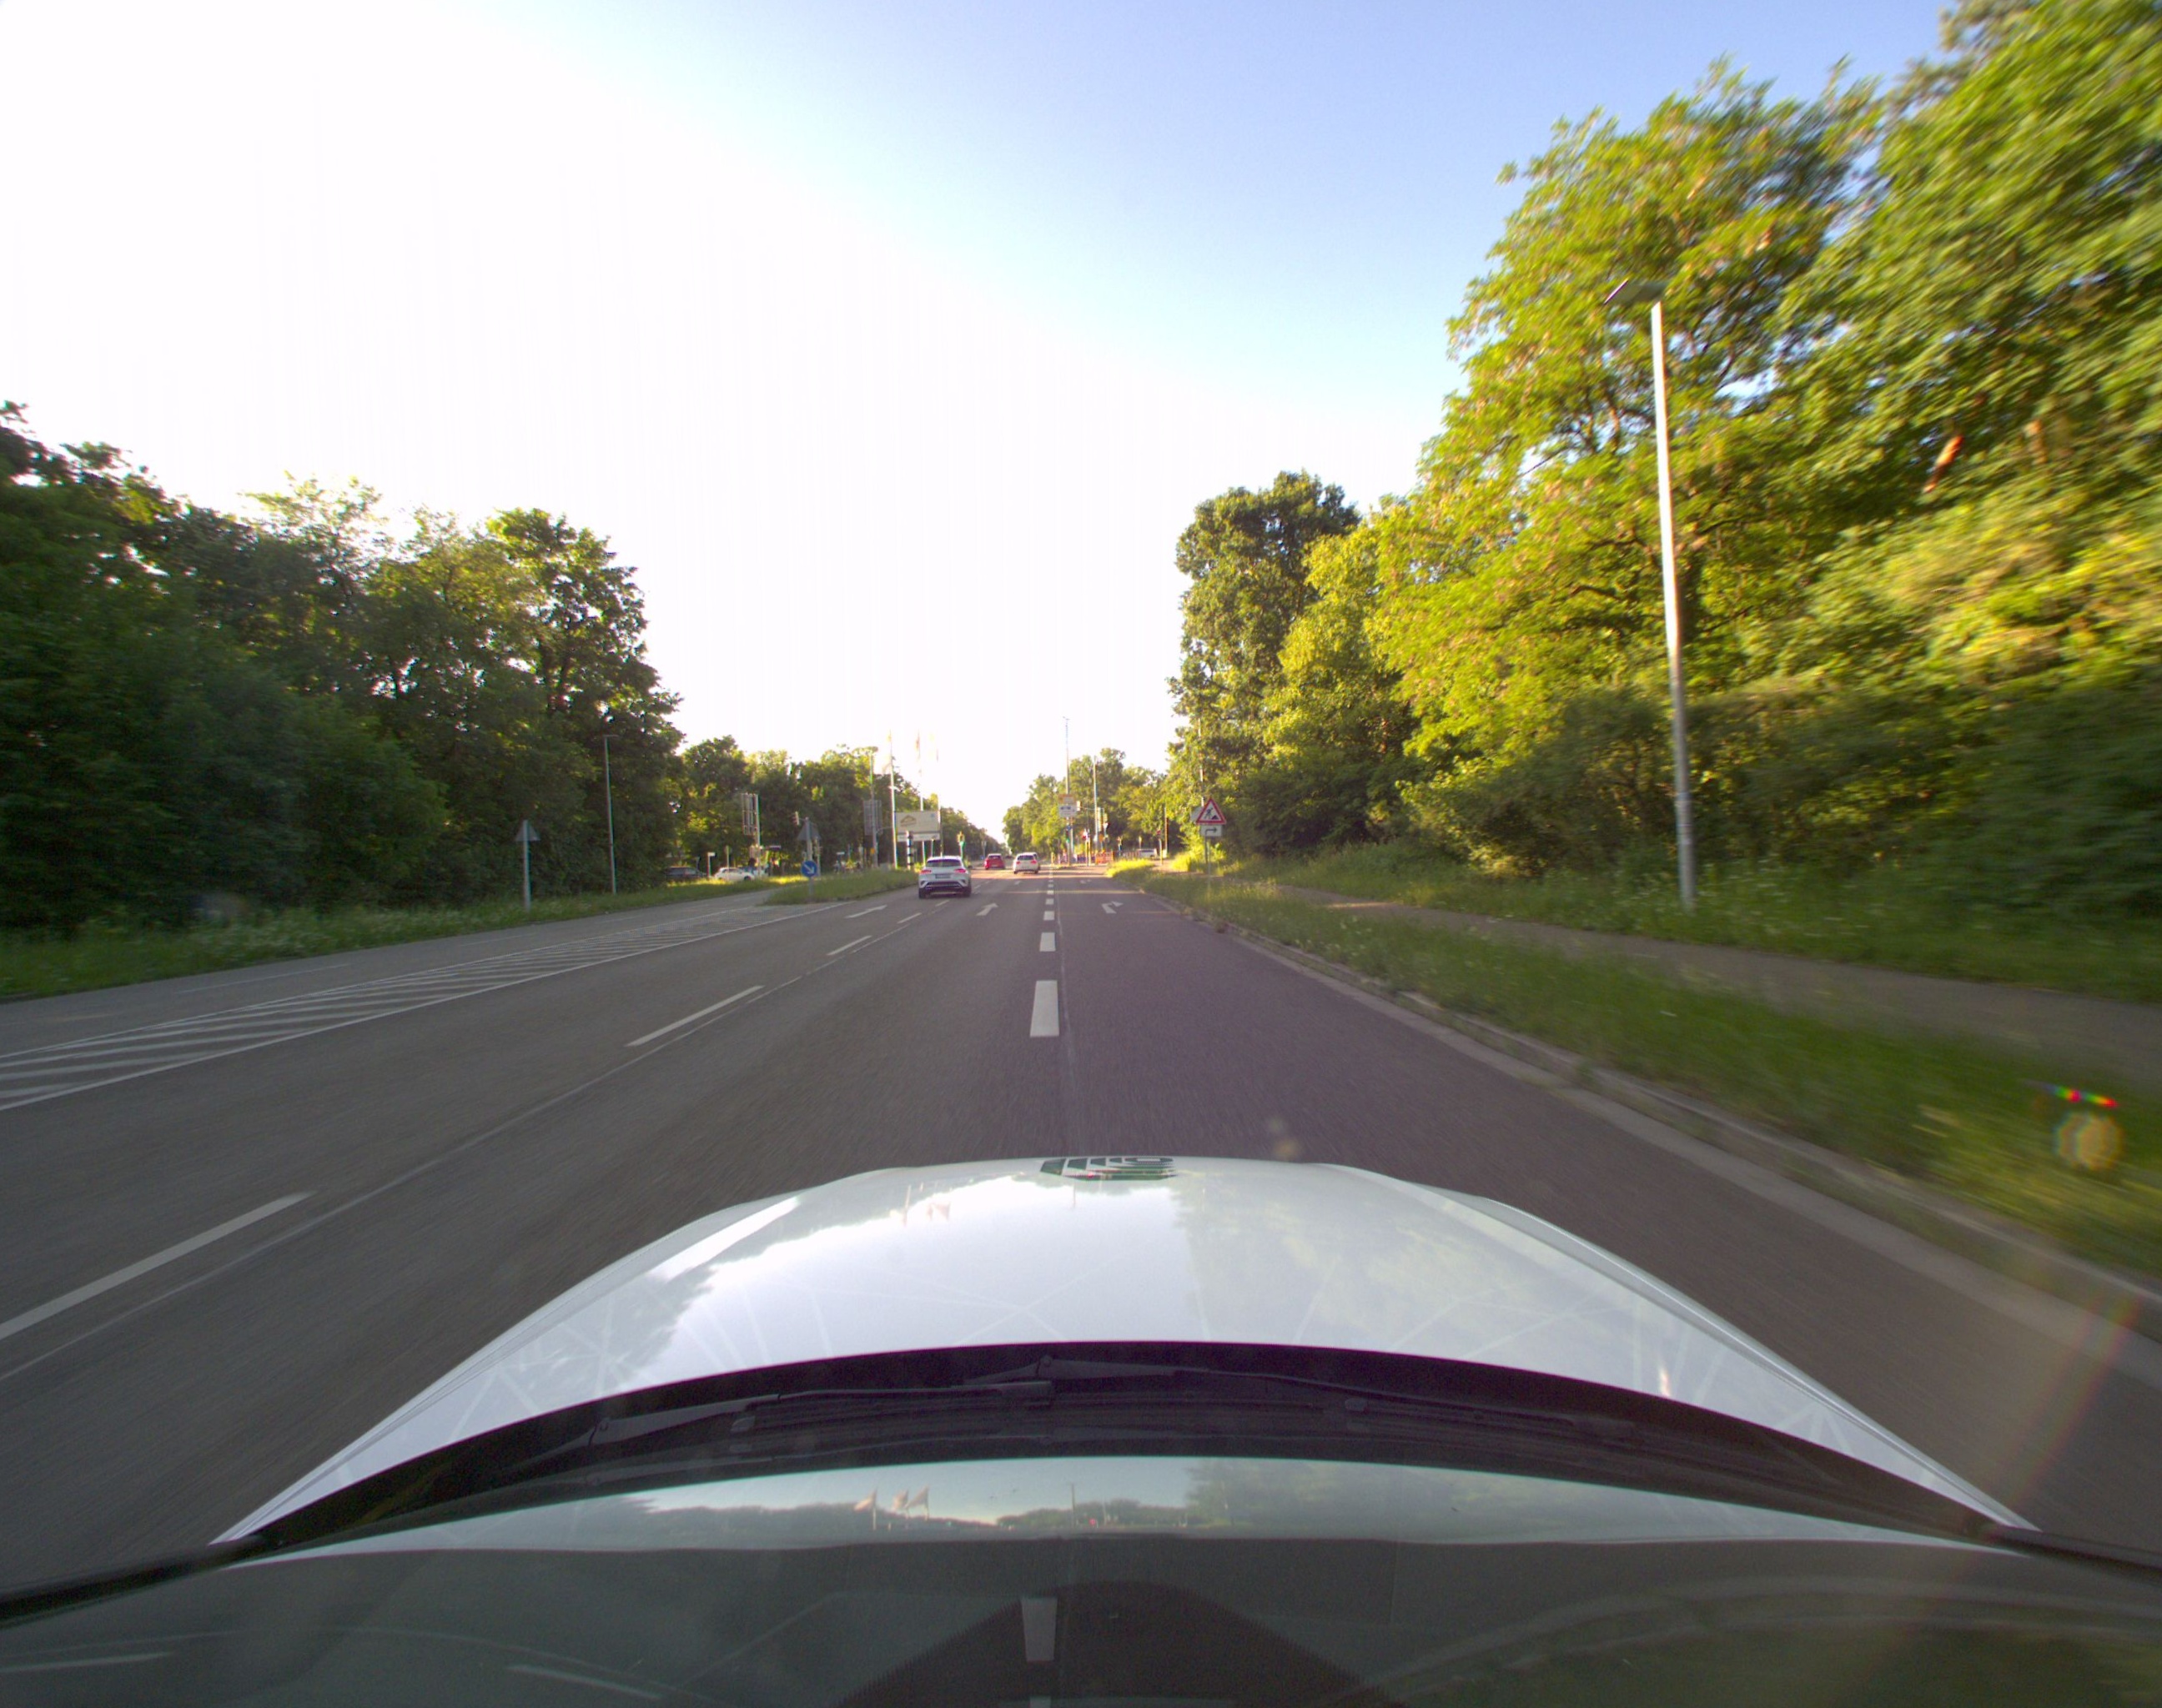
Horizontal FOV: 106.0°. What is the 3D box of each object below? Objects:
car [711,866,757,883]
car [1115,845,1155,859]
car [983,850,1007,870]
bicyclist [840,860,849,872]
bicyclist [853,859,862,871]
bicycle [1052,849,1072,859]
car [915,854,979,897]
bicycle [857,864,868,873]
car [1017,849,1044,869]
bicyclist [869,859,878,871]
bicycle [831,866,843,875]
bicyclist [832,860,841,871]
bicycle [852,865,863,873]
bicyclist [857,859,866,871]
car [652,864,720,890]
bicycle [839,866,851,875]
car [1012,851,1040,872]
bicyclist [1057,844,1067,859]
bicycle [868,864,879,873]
[{"bbox_3d":[-32.491,1.893,76.229,3.810,1.389,1.911,-3,0,-29],"label":"car"},{"bbox_3d":[7.000,-0.237,105.248,4.841,1.580,1.984,-3,0,-25],"label":"car"},{"bbox_3d":[-7.721,0.514,73.157,1.992,1.684,3.991,-3,0,-7],"label":"car"},{"bbox_3d":[-26.948,1.354,92.782,0.708,1.389,0.990,-3,0,1],"label":"bicyclist"},{"bbox_3d":[-25.727,1.303,93.717,0.712,1.355,0.990,-3,0,1],"label":"bicyclist"},{"bbox_3d":[-2.532,-0.009,108.511,2.651,1.383,0.958,-2,0,-35],"label":"bicycle"},{"bbox_3d":[-4.914,0.747,30.426,1.859,1.444,3.996,-2,0,-3],"label":"car"},{"bbox_3d":[-25.724,1.722,95.813,0.712,0.914,1.911,-3,0,1],"label":"bicycle"},{"bbox_3d":[-4.307,0.420,69.095,1.992,1.536,3.991,-3,0,-7],"label":"car"},{"bbox_3d":[-23.848,1.253,93.808,0.712,1.339,0.990,-3,0,1],"label":"bicyclist"},{"bbox_3d":[-27.830,1.869,92.844,0.712,0.914,1.911,-3,1,1],"label":"bicycle"},{"bbox_3d":[-27.858,1.277,92.844,0.712,1.192,0.990,-3,0,1],"label":"bicyclist"},{"bbox_3d":[-25.709,1.737,93.721,0.712,0.914,1.911,-3,0,1],"label":"bicycle"},{"bbox_3d":[-25.750,1.285,95.354,0.712,1.342,0.990,-3,0,1],"label":"bicyclist"},{"bbox_3d":[-33.099,1.905,68.249,4.947,1.829,1.911,-3,0,-29],"label":"car"},{"bbox_3d":[-26.922,1.835,92.816,0.712,0.914,1.911,-3,0,1],"label":"bicycle"},{"bbox_3d":[-4.032,0.564,60.403,1.936,1.414,3.995,-3,0,-4],"label":"car"},{"bbox_3d":[-2.517,-0.305,108.535,1.020,1.929,0.958,-1,0,-35],"label":"bicyclist"},{"bbox_3d":[-23.835,1.647,93.749,0.712,0.914,1.911,-3,0,1],"label":"bicycle"}]
